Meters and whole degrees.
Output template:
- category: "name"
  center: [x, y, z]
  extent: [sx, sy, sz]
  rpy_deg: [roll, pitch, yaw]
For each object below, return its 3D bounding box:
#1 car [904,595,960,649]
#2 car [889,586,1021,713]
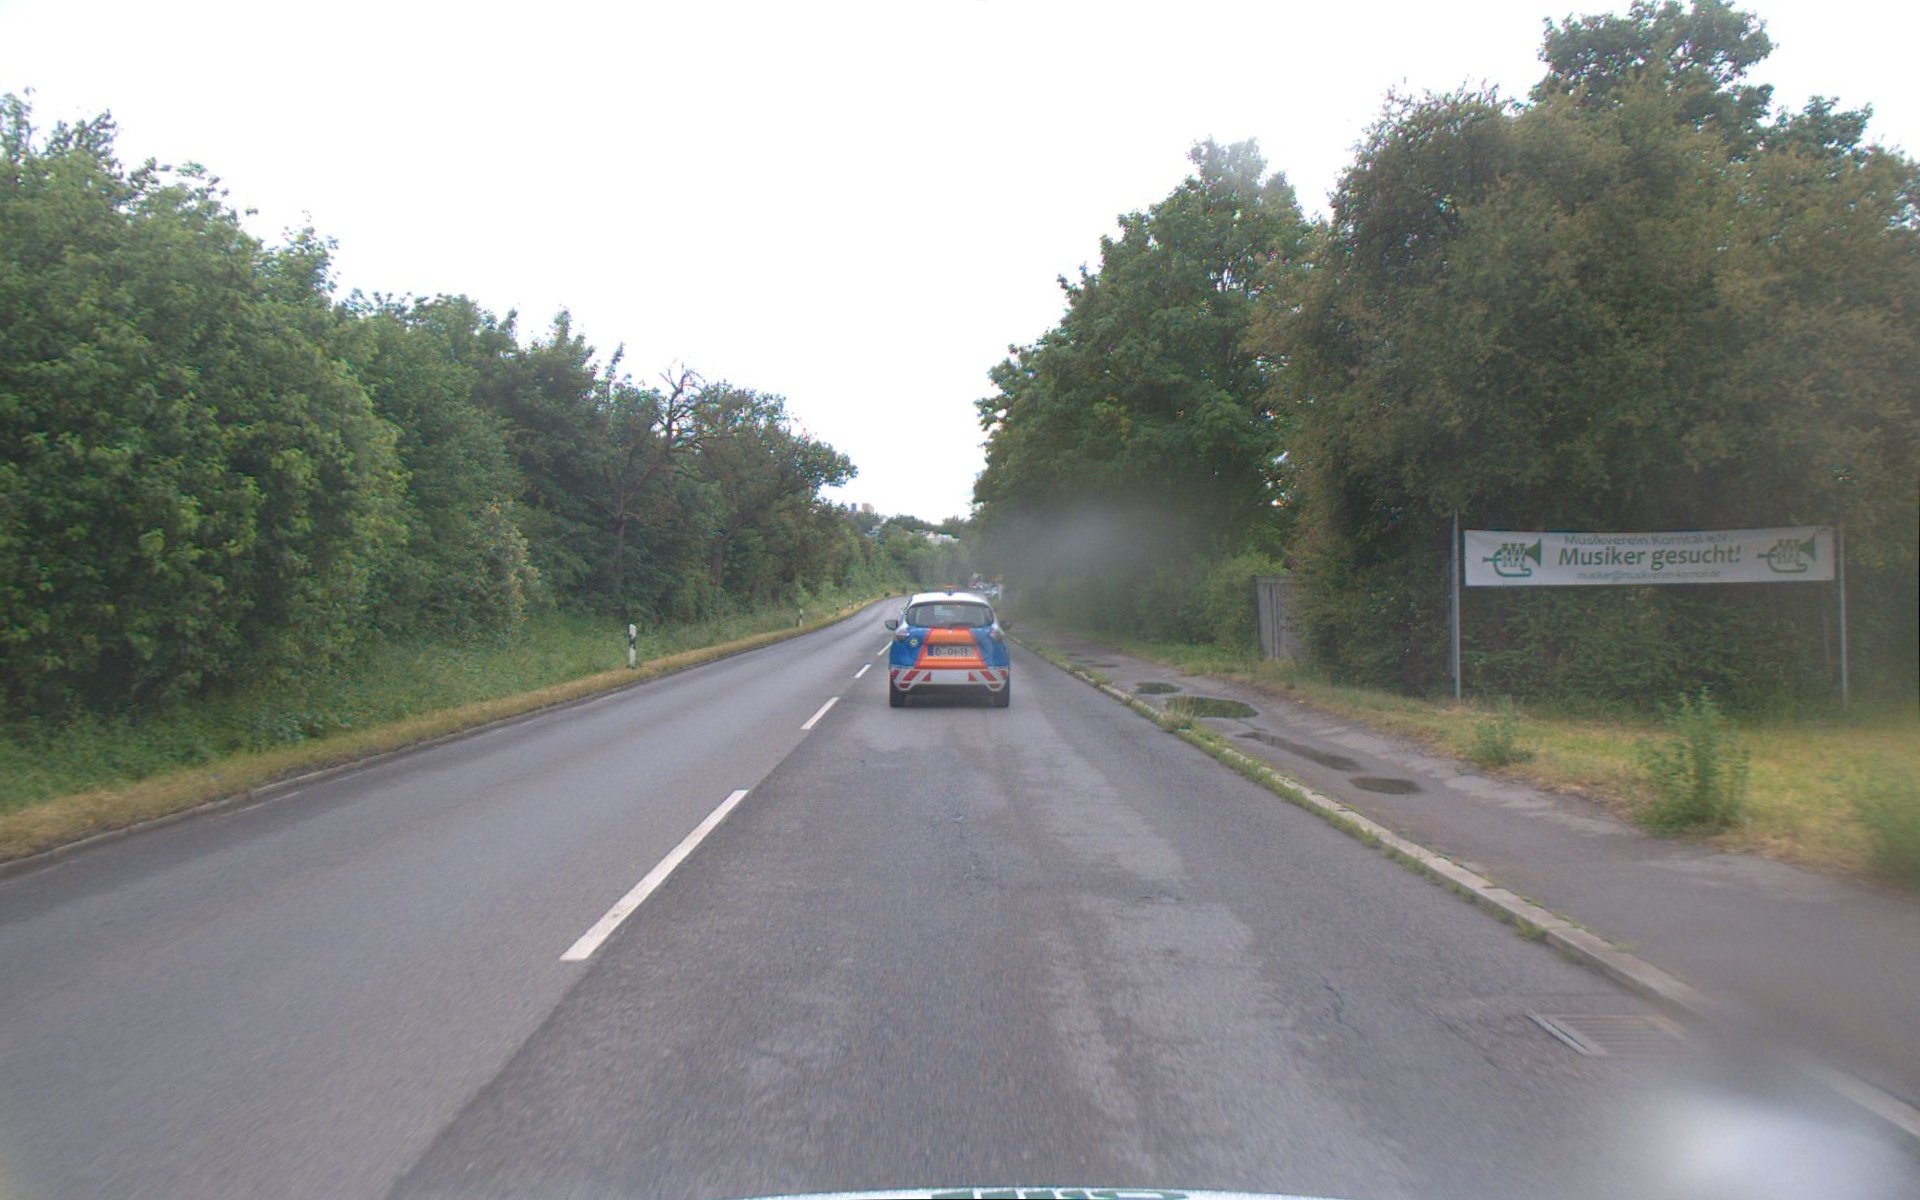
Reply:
- category: "car"
  center: [-0.899, 0.669, 51.831]
  extent: [1.660, 1.623, 3.854]
  rpy_deg: [1, 0, -2]
- category: "car"
  center: [-0.100, 0.666, 24.154]
  extent: [1.769, 1.697, 3.855]
  rpy_deg: [1, 0, -1]
